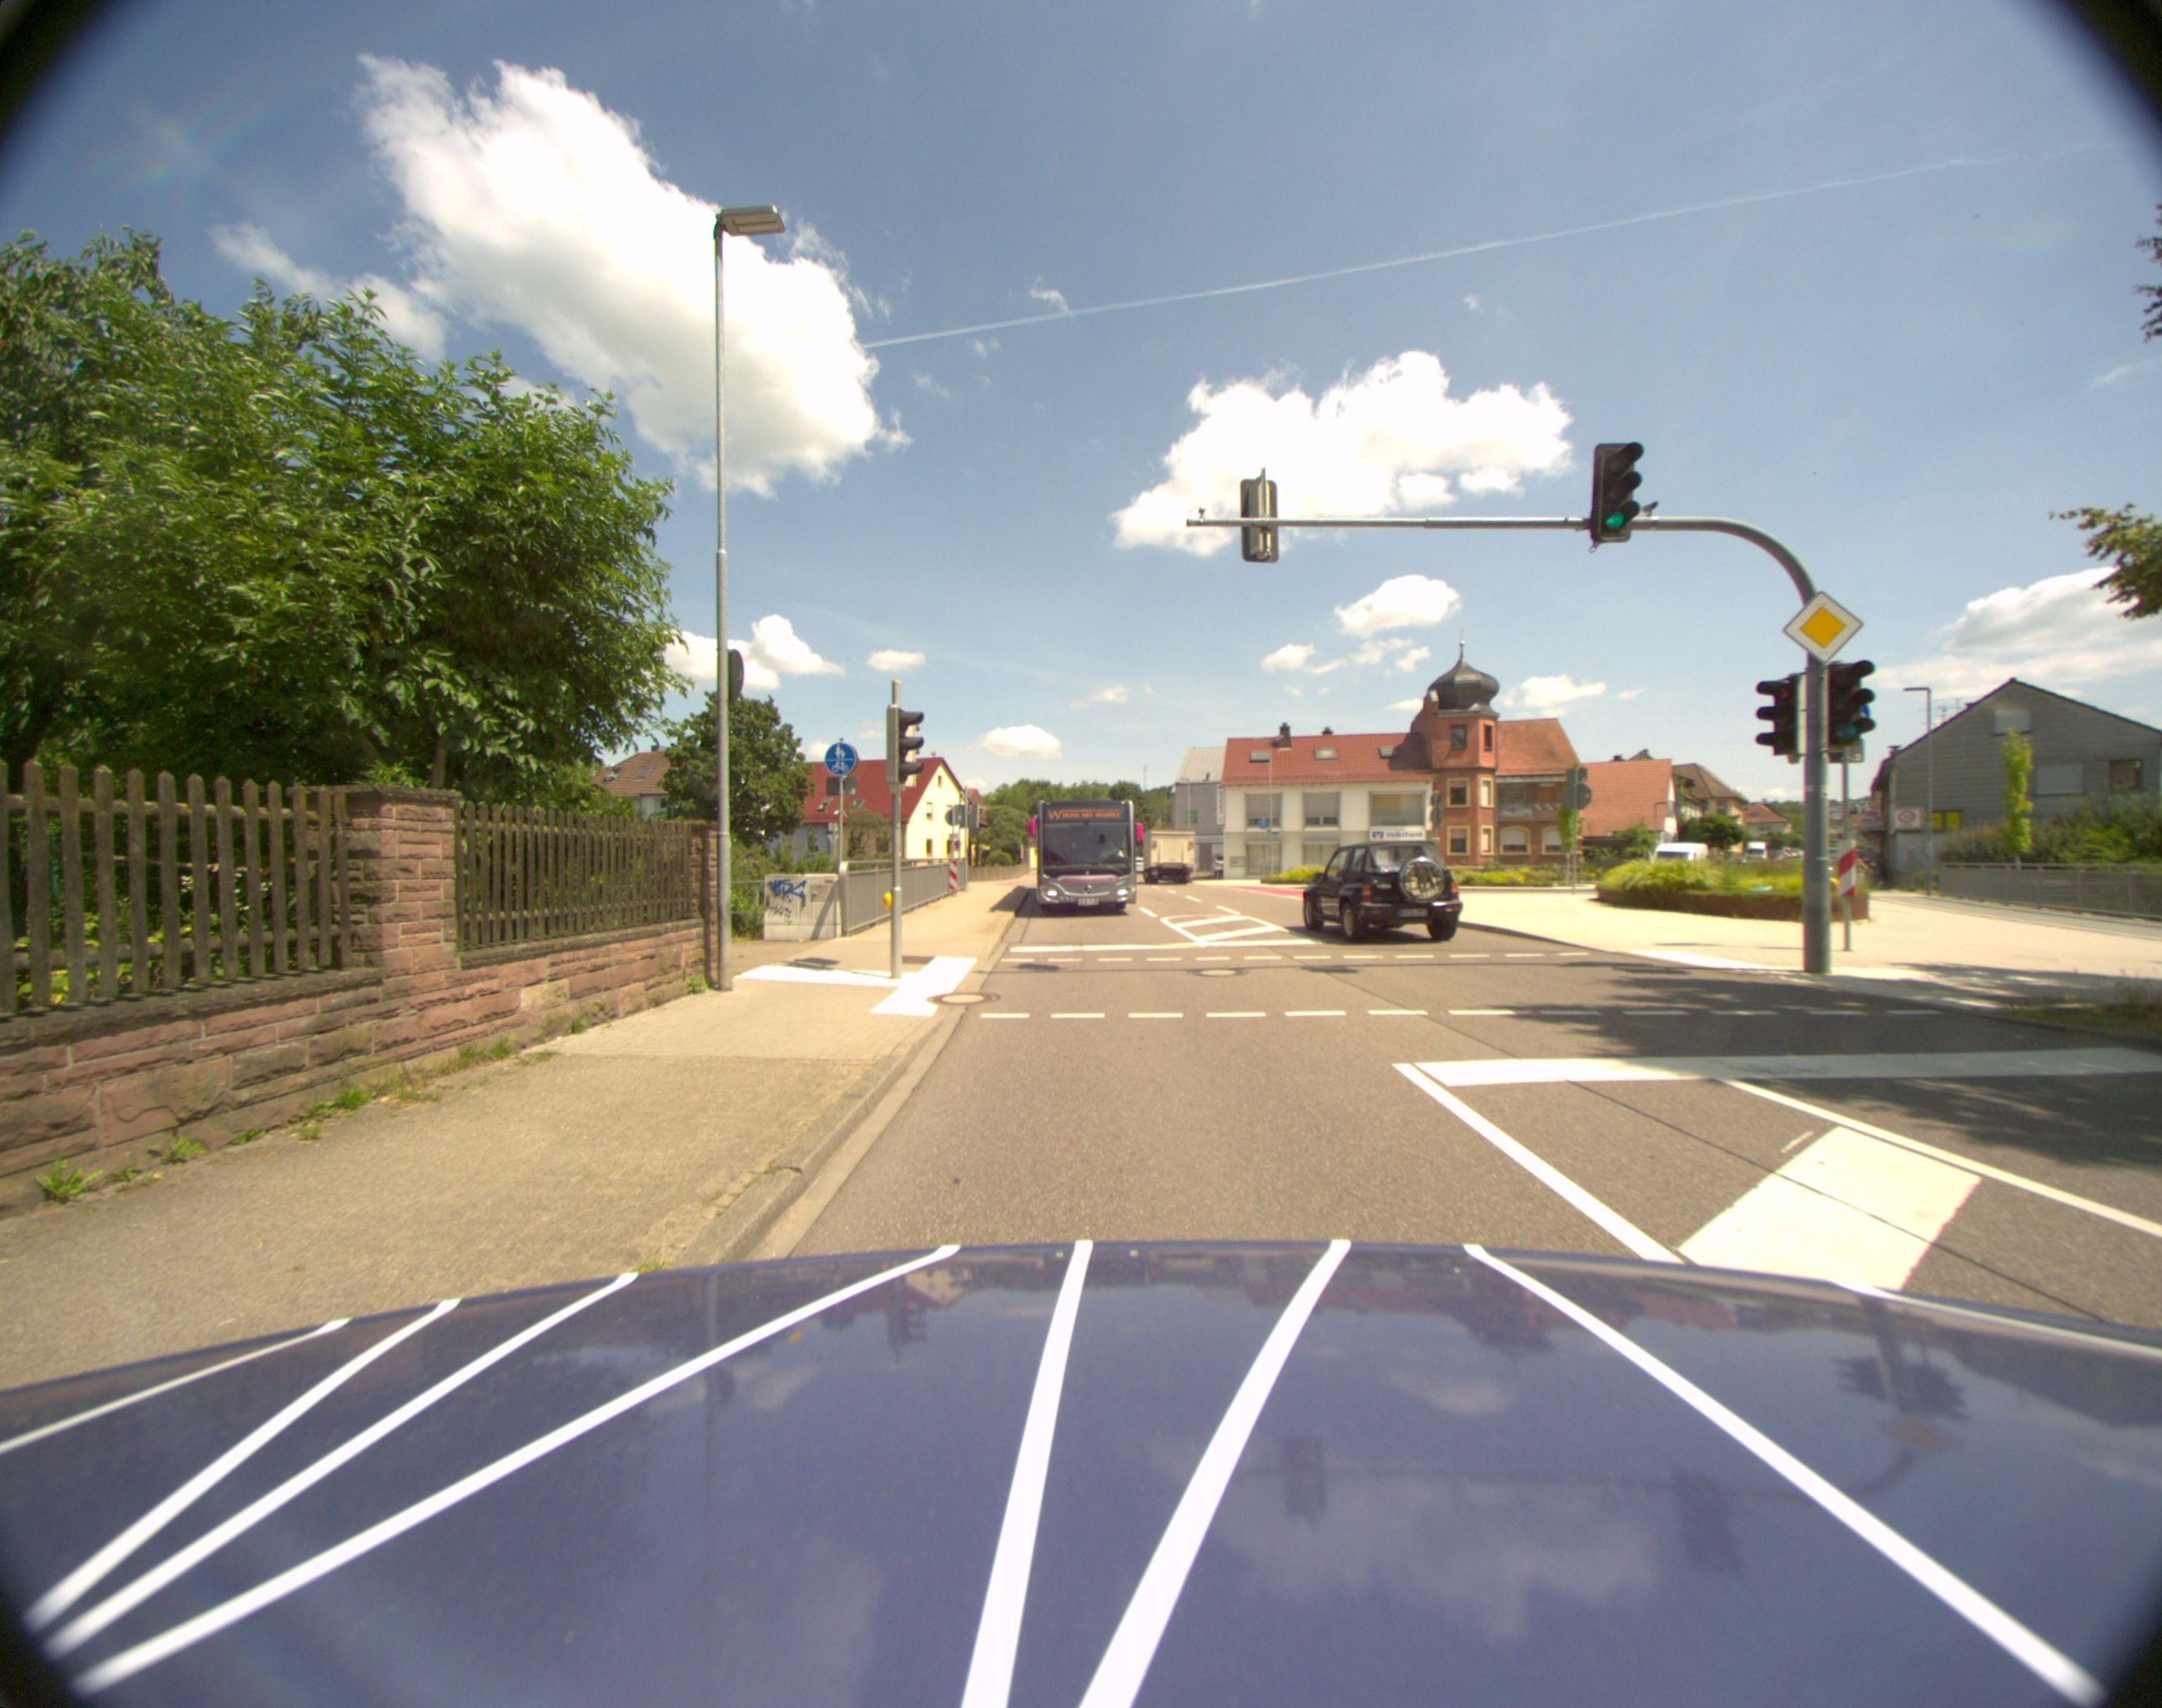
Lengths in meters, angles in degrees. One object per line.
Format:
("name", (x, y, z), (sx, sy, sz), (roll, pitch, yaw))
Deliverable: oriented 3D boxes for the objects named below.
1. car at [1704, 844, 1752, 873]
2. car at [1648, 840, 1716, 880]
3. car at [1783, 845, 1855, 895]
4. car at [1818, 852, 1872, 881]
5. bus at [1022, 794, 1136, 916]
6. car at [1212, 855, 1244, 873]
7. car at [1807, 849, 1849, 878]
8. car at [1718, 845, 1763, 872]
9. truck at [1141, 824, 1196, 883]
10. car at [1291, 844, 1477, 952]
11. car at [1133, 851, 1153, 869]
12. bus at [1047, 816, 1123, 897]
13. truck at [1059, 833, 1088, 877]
("car", (54.149, 0.383, 63.524), (5.122, 2.332, 2.167), (0, 1, -40))
("car", (36.719, 0.341, 46.387), (5.122, 2.332, 2.167), (0, 1, -40))
("car", (31.398, 0.628, 32.443), (1.994, 2.002, 4.009), (0, 0, 41))
("car", (48.103, 0.736, 47.925), (2.063, 1.718, 4.009), (2, 1, 40))
("bus", (0.050, 0.145, 23.315), (2.755, 2.949, 9.284), (1, -2, 1))
("car", (13.019, 0.873, 67.094), (1.995, 1.565, 4.260), (1, 0, 21))
("car", (51.124, 0.631, 52.040), (1.918, 1.867, 4.009), (2, 1, 44))
("car", (58.628, 0.386, 67.474), (5.122, 2.332, 2.167), (0, 1, -40))
("truck", (5.085, -0.059, 45.207), (2.508, 3.217, 6.038), (1, 1, -1))
("car", (5.149, 0.671, 13.469), (1.743, 1.641, 3.667), (0, 0, -2))
("car", (6.050, 0.591, 74.499), (1.819, 1.640, 4.000), (-1, 1, 2))
("bus", (0.183, 0.234, 32.653), (2.755, 2.949, 9.283), (1, -2, 1))
("truck", (-0.499, 0.072, 54.142), (1.998, 3.000, 3.999), (1, 1, 1))
